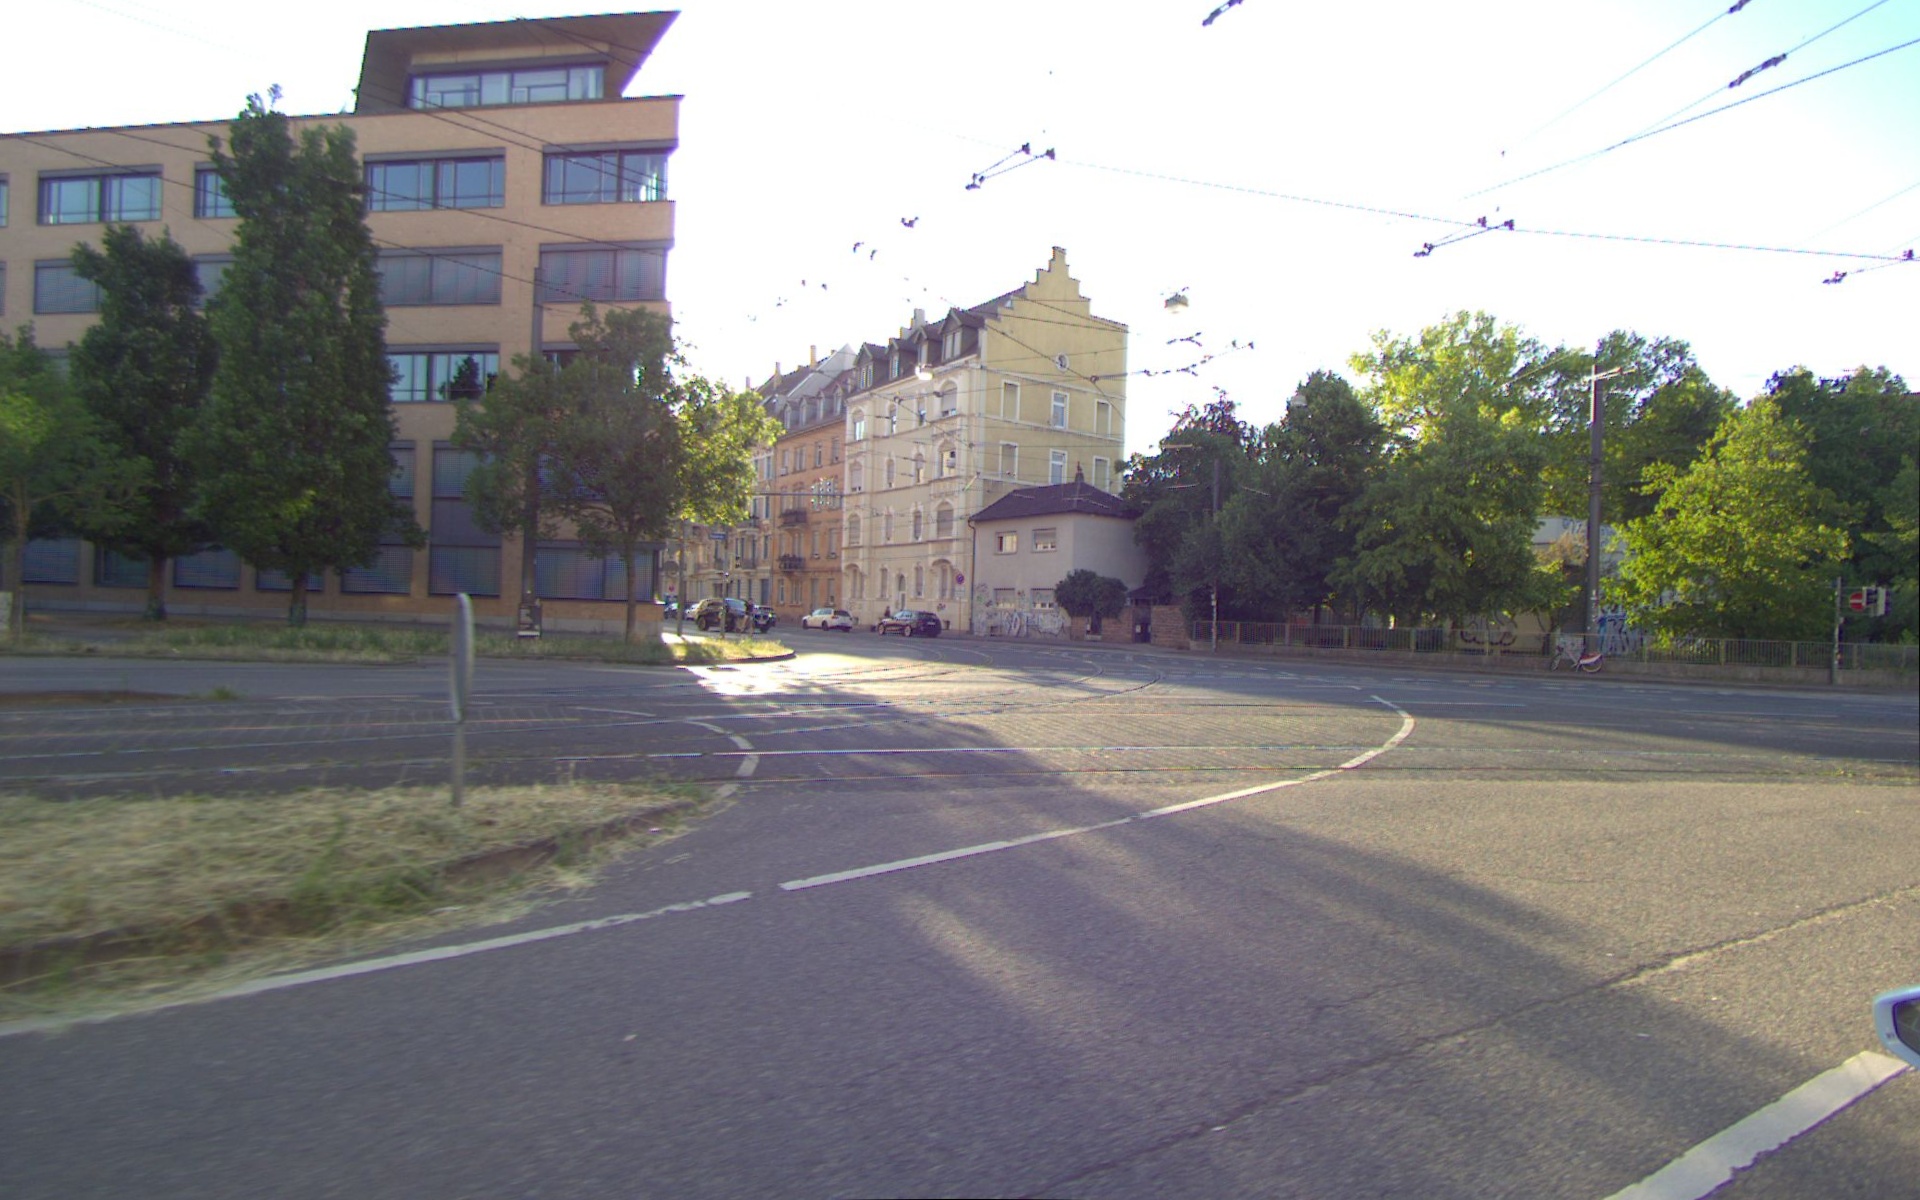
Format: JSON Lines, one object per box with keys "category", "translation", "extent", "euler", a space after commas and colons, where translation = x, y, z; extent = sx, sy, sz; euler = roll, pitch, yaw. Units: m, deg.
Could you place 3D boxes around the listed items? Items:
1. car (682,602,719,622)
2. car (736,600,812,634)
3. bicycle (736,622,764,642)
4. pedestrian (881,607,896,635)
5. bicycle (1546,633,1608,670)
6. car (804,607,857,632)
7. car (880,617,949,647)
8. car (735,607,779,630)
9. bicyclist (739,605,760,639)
{"category": "car", "translation": [-21.723, 0.985, 83.942], "extent": [1.828, 1.506, 3.965], "euler": [2, 0, -32]}
{"category": "car", "translation": [-8.888, 0.790, 47.797], "extent": [1.982, 1.506, 3.957], "euler": [2, 0, -38]}
{"category": "bicycle", "translation": [-9.356, 1.408, 44.739], "extent": [0.651, 0.844, 1.675], "euler": [2, -1, -34]}
{"category": "pedestrian", "translation": [-4.473, 1.331, 62.902], "extent": [0.580, 1.728, 0.710], "euler": [1, 0, -35]}
{"category": "bicycle", "translation": [20.845, 1.736, 33.948], "extent": [1.687, 1.157, 0.559], "euler": [1, 0, 14]}
{"category": "car", "translation": [-8.295, 1.223, 63.994], "extent": [1.824, 1.506, 3.965], "euler": [2, 0, -32]}
{"category": "car", "translation": [-2.552, 1.742, 55.569], "extent": [1.980, 1.506, 3.961], "euler": [2, 0, -35]}
{"category": "car", "translation": [-14.791, 1.342, 73.059], "extent": [1.828, 1.506, 3.965], "euler": [2, 0, -32]}
{"category": "bicyclist", "translation": [-9.369, 0.977, 44.784], "extent": [0.660, 1.472, 0.736], "euler": [2, -1, -34]}
